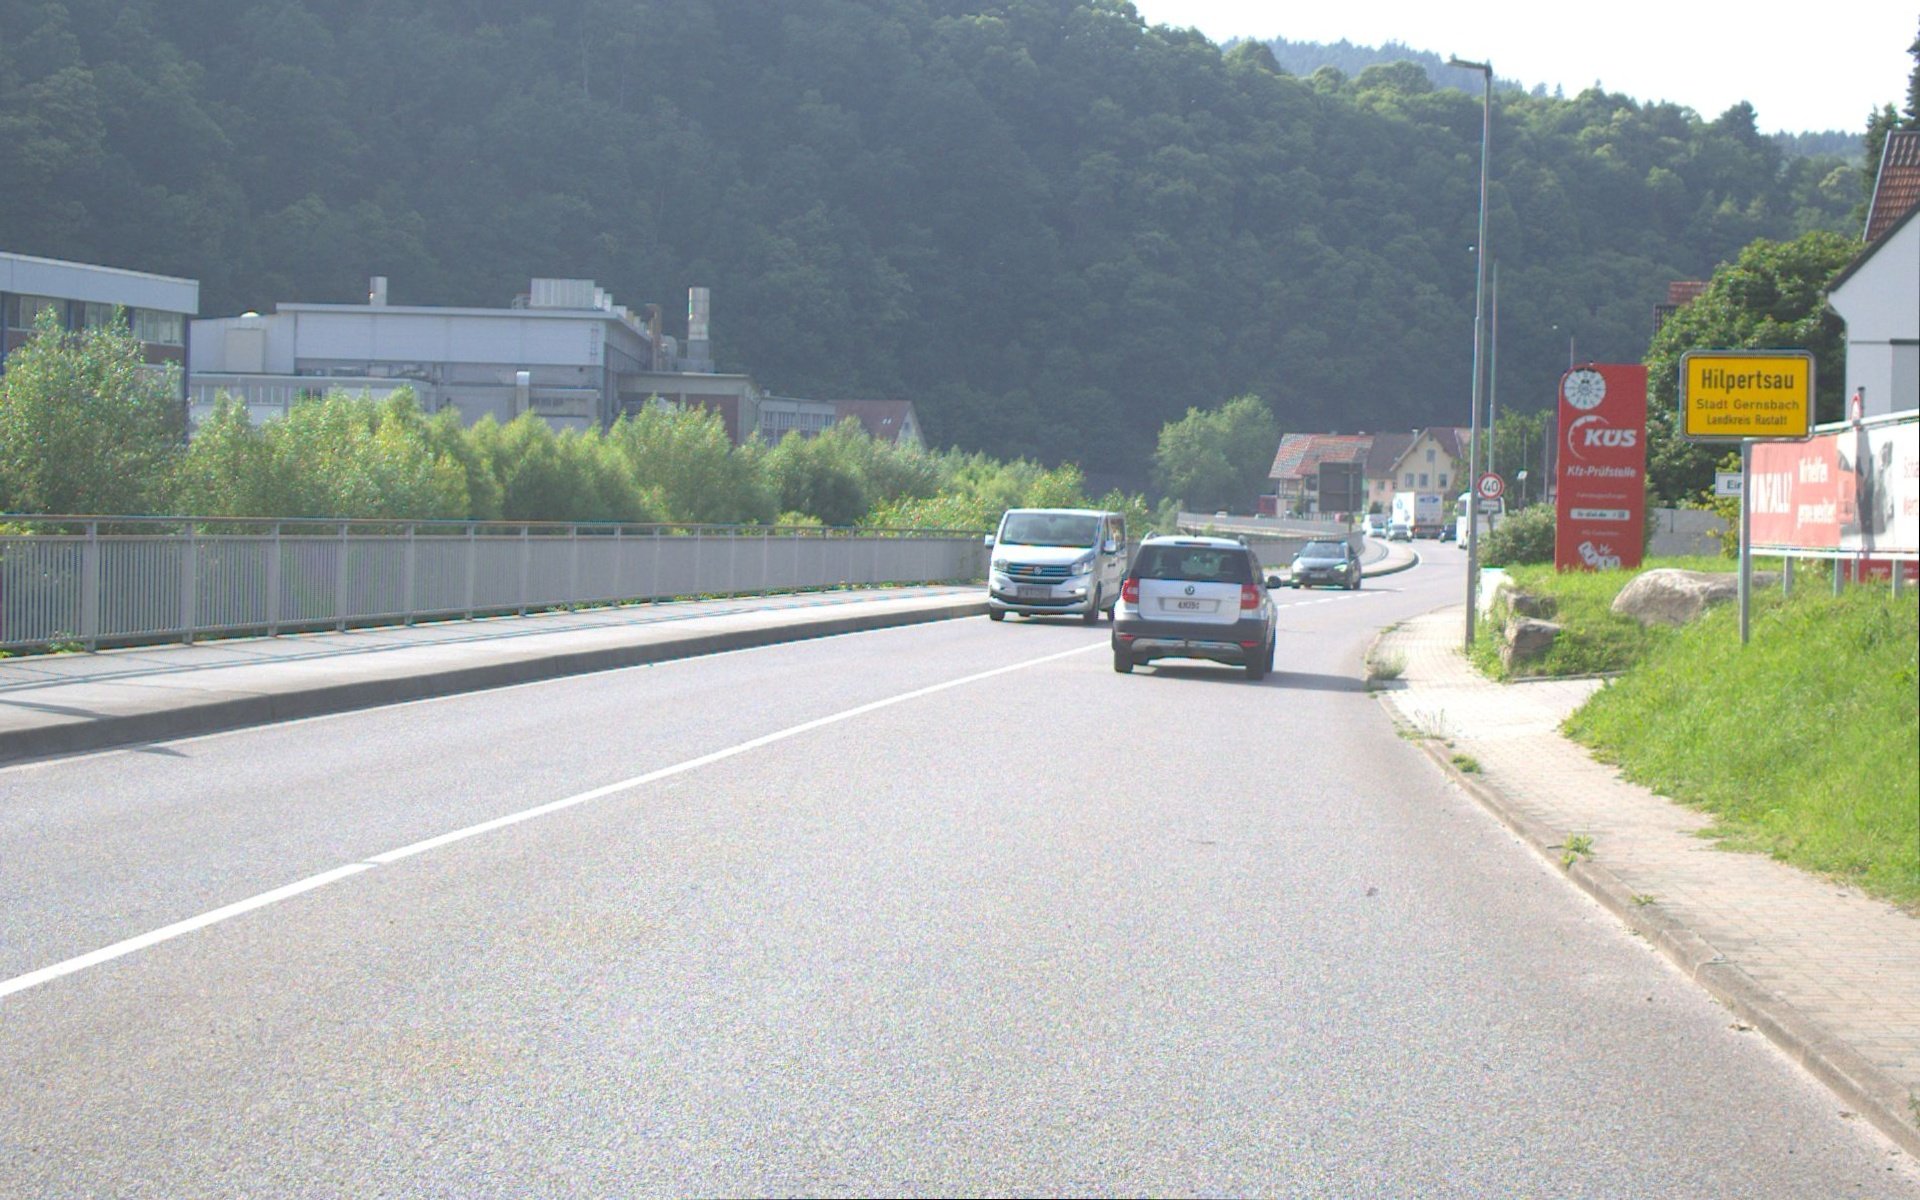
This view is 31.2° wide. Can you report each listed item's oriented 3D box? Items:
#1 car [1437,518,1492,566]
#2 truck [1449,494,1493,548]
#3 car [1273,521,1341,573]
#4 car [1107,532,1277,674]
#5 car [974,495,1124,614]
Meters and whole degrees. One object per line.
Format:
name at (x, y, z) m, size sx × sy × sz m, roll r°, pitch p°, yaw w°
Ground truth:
car at (17.262, -1.960, 117.599) m, size 1.623 × 1.536 × 3.276 m, roll 2°, pitch 1°, yaw 11°
truck at (33.771, -5.256, 227.160) m, size 2.730 × 3.363 × 6.476 m, roll 2°, pitch 3°, yaw 9°
car at (10.621, -1.602, 105.021) m, size 1.814 × 1.479 × 4.796 m, roll 2°, pitch 1°, yaw 8°
car at (2.743, -0.006, 41.187) m, size 1.861 × 1.539 × 4.373 m, roll 2°, pitch 1°, yaw 3°
car at (1.612, -0.789, 60.150) m, size 1.920 × 1.961 × 5.144 m, roll 1°, pitch 1°, yaw 9°
